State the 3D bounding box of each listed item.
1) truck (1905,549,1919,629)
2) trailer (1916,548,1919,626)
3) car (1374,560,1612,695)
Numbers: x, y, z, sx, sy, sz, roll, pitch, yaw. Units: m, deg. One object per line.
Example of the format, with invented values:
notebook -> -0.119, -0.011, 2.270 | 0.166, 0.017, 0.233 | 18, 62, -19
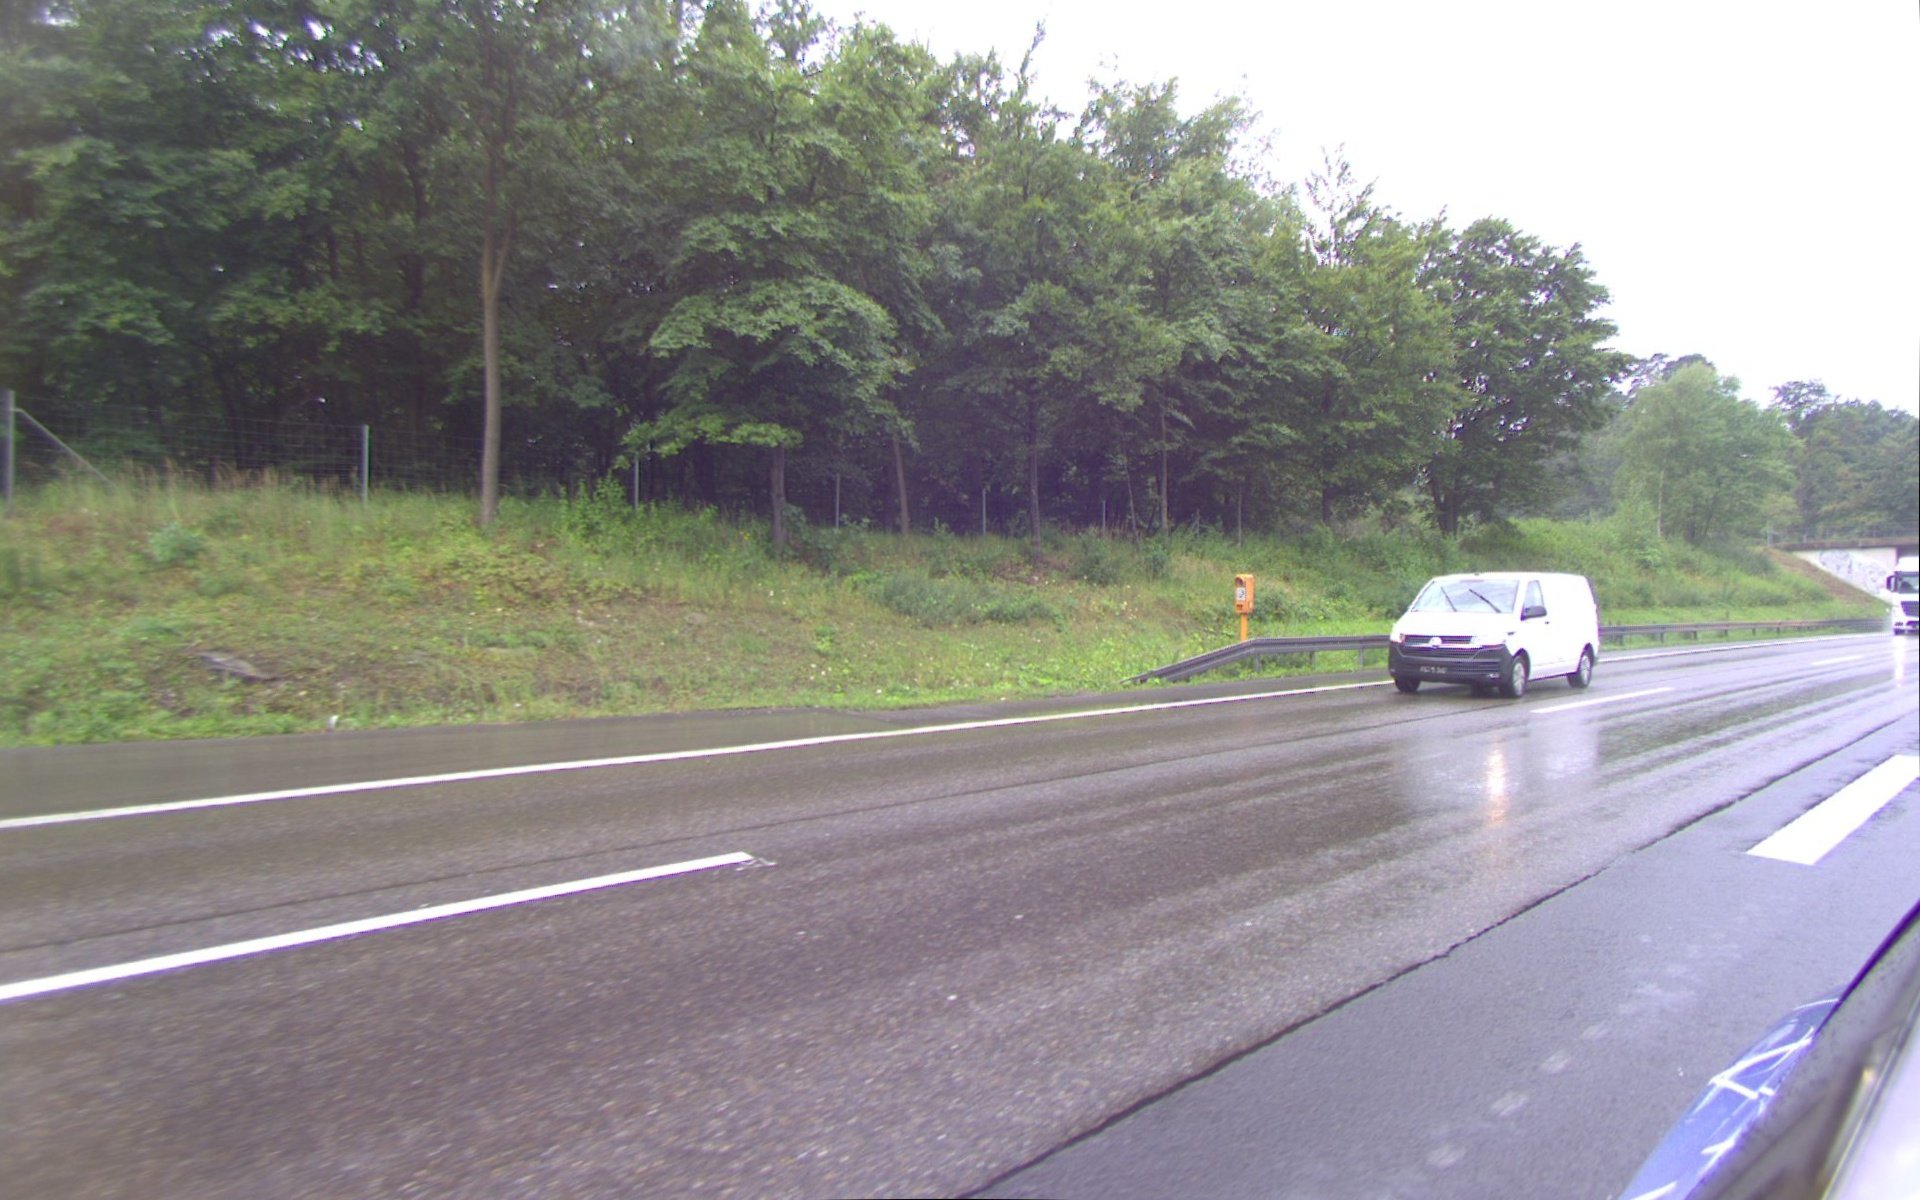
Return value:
truck -> 51.311, -0.586, 52.413 | 5.904, 4.065, 2.607 | 0, -1, -39
trailer -> 56.219, -0.720, 56.337 | 13.466, 4.064, 2.559 | 0, 0, -39
car -> 8.984, 0.389, 16.878 | 4.684, 1.945, 1.993 | 0, 0, -41
